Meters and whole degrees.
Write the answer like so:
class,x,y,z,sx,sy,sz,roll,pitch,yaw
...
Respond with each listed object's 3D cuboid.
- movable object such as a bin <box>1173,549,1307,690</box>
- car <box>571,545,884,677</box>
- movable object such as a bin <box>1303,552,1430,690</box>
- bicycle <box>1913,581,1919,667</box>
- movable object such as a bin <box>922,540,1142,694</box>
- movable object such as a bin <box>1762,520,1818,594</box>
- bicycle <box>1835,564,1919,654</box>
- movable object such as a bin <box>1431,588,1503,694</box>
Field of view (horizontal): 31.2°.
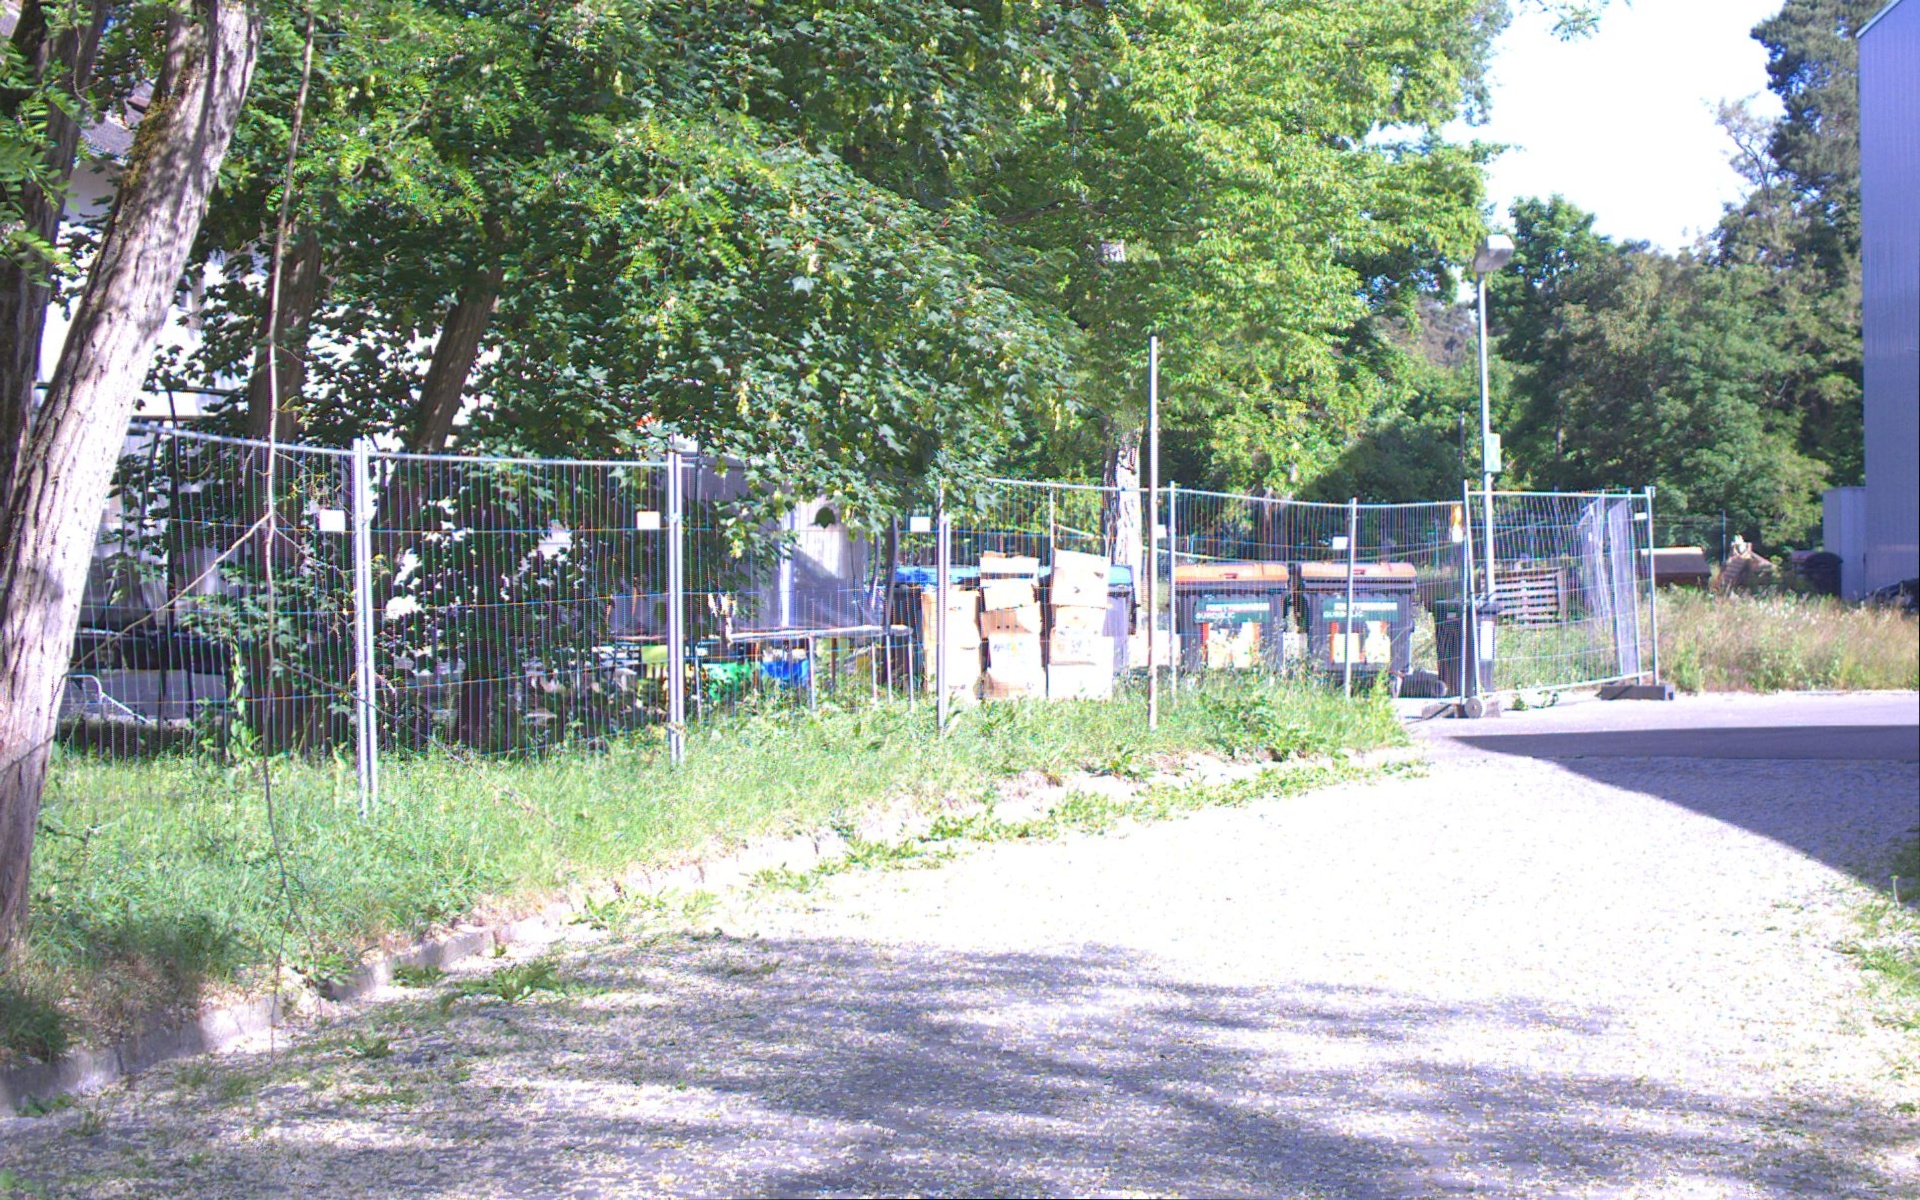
class,x,y,z,sx,sy,sz,roll,pitch,yaw
movable object such as a bin,2.971,0.199,36.577,1.337,1.479,0.807,-1,0,-1
car,-3.618,0.174,54.171,4.710,1.896,2.000,-2,0,1
movable object such as a bin,4.308,0.214,36.493,1.244,1.439,0.703,-1,0,0
bicycle,13.115,0.291,43.607,1.888,1.091,0.526,-1,0,4
movable object such as a bin,0.746,0.166,36.468,2.288,1.586,1.174,-1,1,-1
movable object such as a bin,22.801,-1.192,94.468,1.419,2.007,1.125,0,1,9
bicycle,13.920,0.113,49.179,2.631,1.262,1.140,0,1,9
movable object such as a bin,5.351,0.426,36.264,0.736,1.094,0.819,-1,1,9
